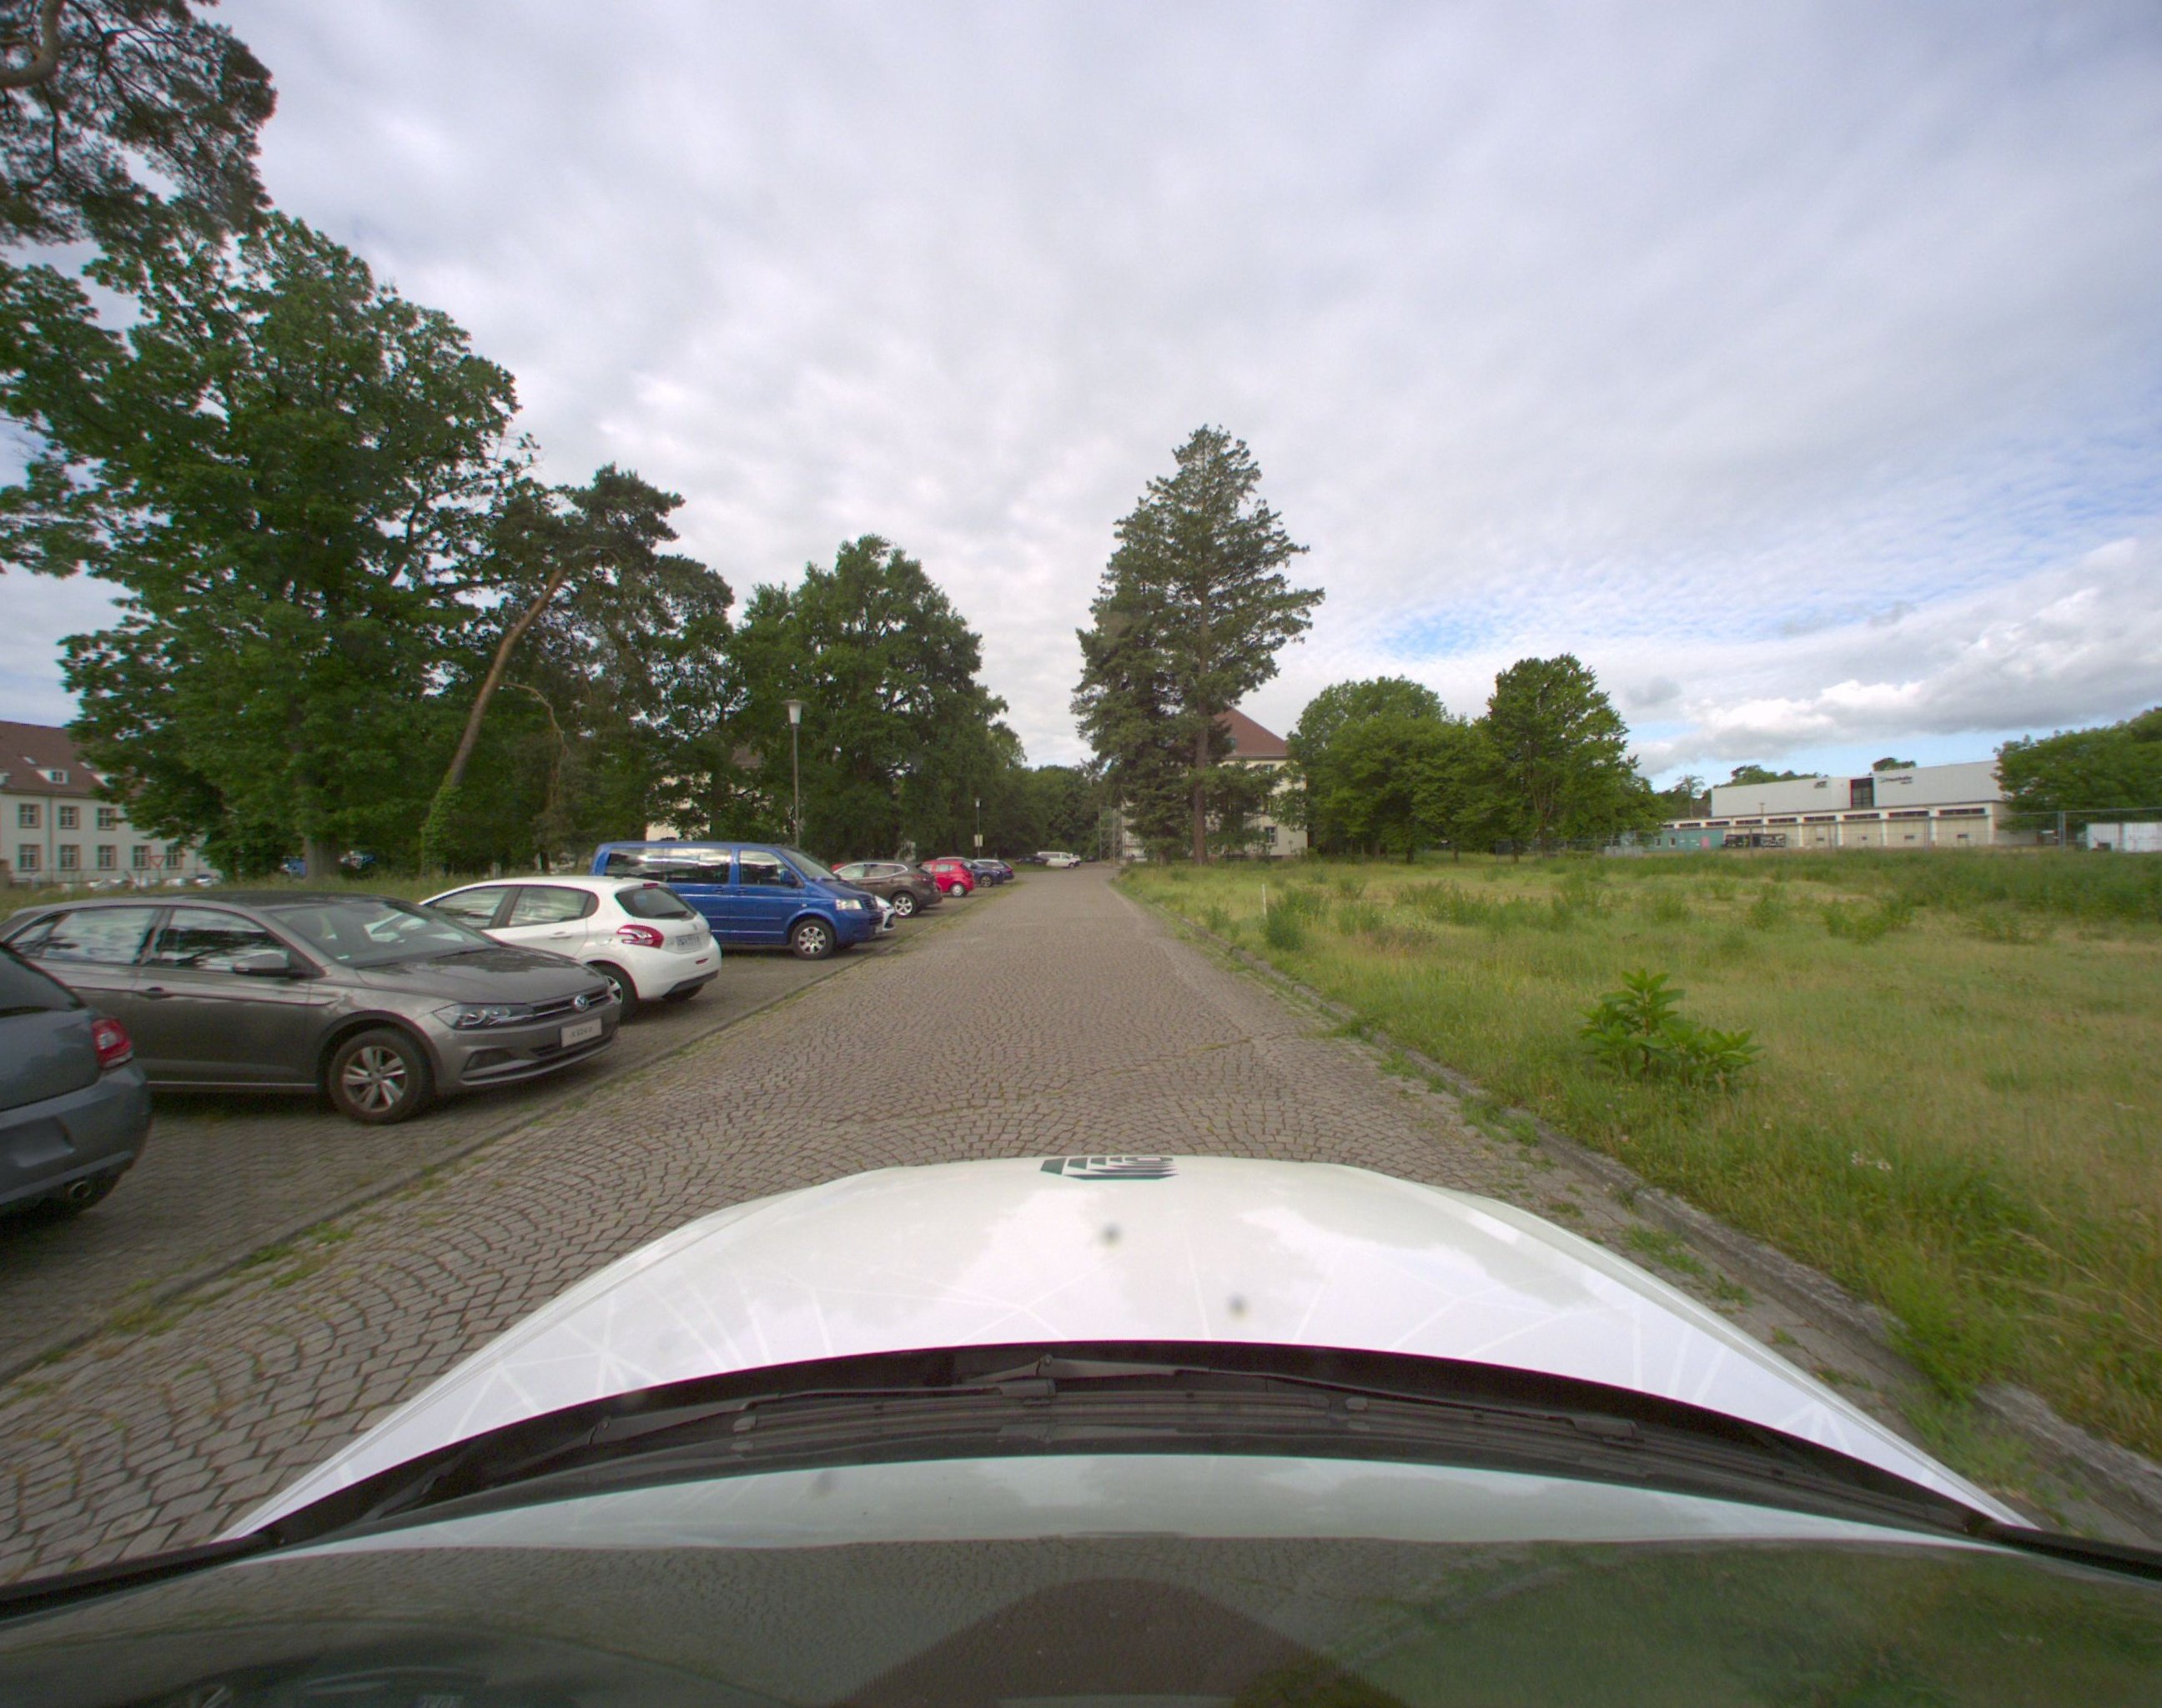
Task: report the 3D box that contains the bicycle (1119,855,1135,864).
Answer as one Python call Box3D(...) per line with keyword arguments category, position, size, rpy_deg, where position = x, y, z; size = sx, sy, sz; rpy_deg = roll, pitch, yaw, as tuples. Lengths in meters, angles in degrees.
Box3D(category="bicycle", position=(6.532, 0.741, 114.762), size=(2.232, 1.254, 0.778), rpy_deg=(-1, -1, 1))

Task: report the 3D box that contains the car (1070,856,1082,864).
Box3D(category="car", position=(-1.025, 1.131, 163.362), size=(2.113, 1.522, 3.997), rpy_deg=(-1, 0, -2))

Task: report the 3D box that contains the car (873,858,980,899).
Box3D(category="car", position=(-6.271, 0.961, 33.479), size=(4.045, 1.525, 1.903), rpy_deg=(-1, 0, -3))

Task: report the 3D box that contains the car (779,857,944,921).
Box3D(category="car", position=(-6.114, 0.955, 23.113), size=(4.157, 1.622, 1.984), rpy_deg=(-1, 0, -4))

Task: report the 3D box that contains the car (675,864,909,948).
Box3D(category="car", position=(-5.822, 1.015, 16.828), size=(4.157, 1.510, 1.779), rpy_deg=(-1, 0, -3))

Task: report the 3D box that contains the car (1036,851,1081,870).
Box3D(category="car", position=(-2.730, 0.778, 97.341), size=(5.223, 2.168, 1.998), rpy_deg=(-1, 0, -4))

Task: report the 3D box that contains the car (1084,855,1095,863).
Box3D(category="car", position=(1.641, 1.055, 163.719), size=(1.946, 1.522, 3.997), rpy_deg=(-1, 0, -2))

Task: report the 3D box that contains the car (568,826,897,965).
Box3D(category="car", position=(-5.856, 0.660, 14.240), size=(4.769, 2.122, 2.114), rpy_deg=(-1, 0, -2))

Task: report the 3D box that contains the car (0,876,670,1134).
Box3D(category="car", position=(-5.625, 0.984, 6.040), size=(4.152, 1.491, 1.865), rpy_deg=(-1, 0, 0))

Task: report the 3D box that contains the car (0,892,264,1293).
Box3D(category="car", position=(-6.226, 0.988, 3.170), size=(4.153, 1.482, 1.845), rpy_deg=(-1, 0, 0))

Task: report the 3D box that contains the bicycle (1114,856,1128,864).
Box3D(category="bicycle", position=(6.687, 0.987, 136.314), size=(2.232, 1.254, 0.634), rpy_deg=(-1, -1, 1))

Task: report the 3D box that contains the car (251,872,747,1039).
Box3D(category="car", position=(-6.100, 1.017, 8.940), size=(4.055, 1.497, 1.845), rpy_deg=(-1, 0, 0))

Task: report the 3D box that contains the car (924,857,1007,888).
Box3D(category="car", position=(-6.150, 0.961, 43.693), size=(4.217, 1.577, 1.885), rpy_deg=(0, 0, -3))

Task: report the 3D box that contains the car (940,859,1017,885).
Box3D(category="car", position=(-6.062, 1.058, 48.451), size=(4.288, 1.461, 1.975), rpy_deg=(0, 0, 0))

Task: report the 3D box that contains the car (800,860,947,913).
Box3D(category="car", position=(-6.476, 0.992, 25.844), size=(4.155, 1.510, 1.906), rpy_deg=(-1, 0, -3))
